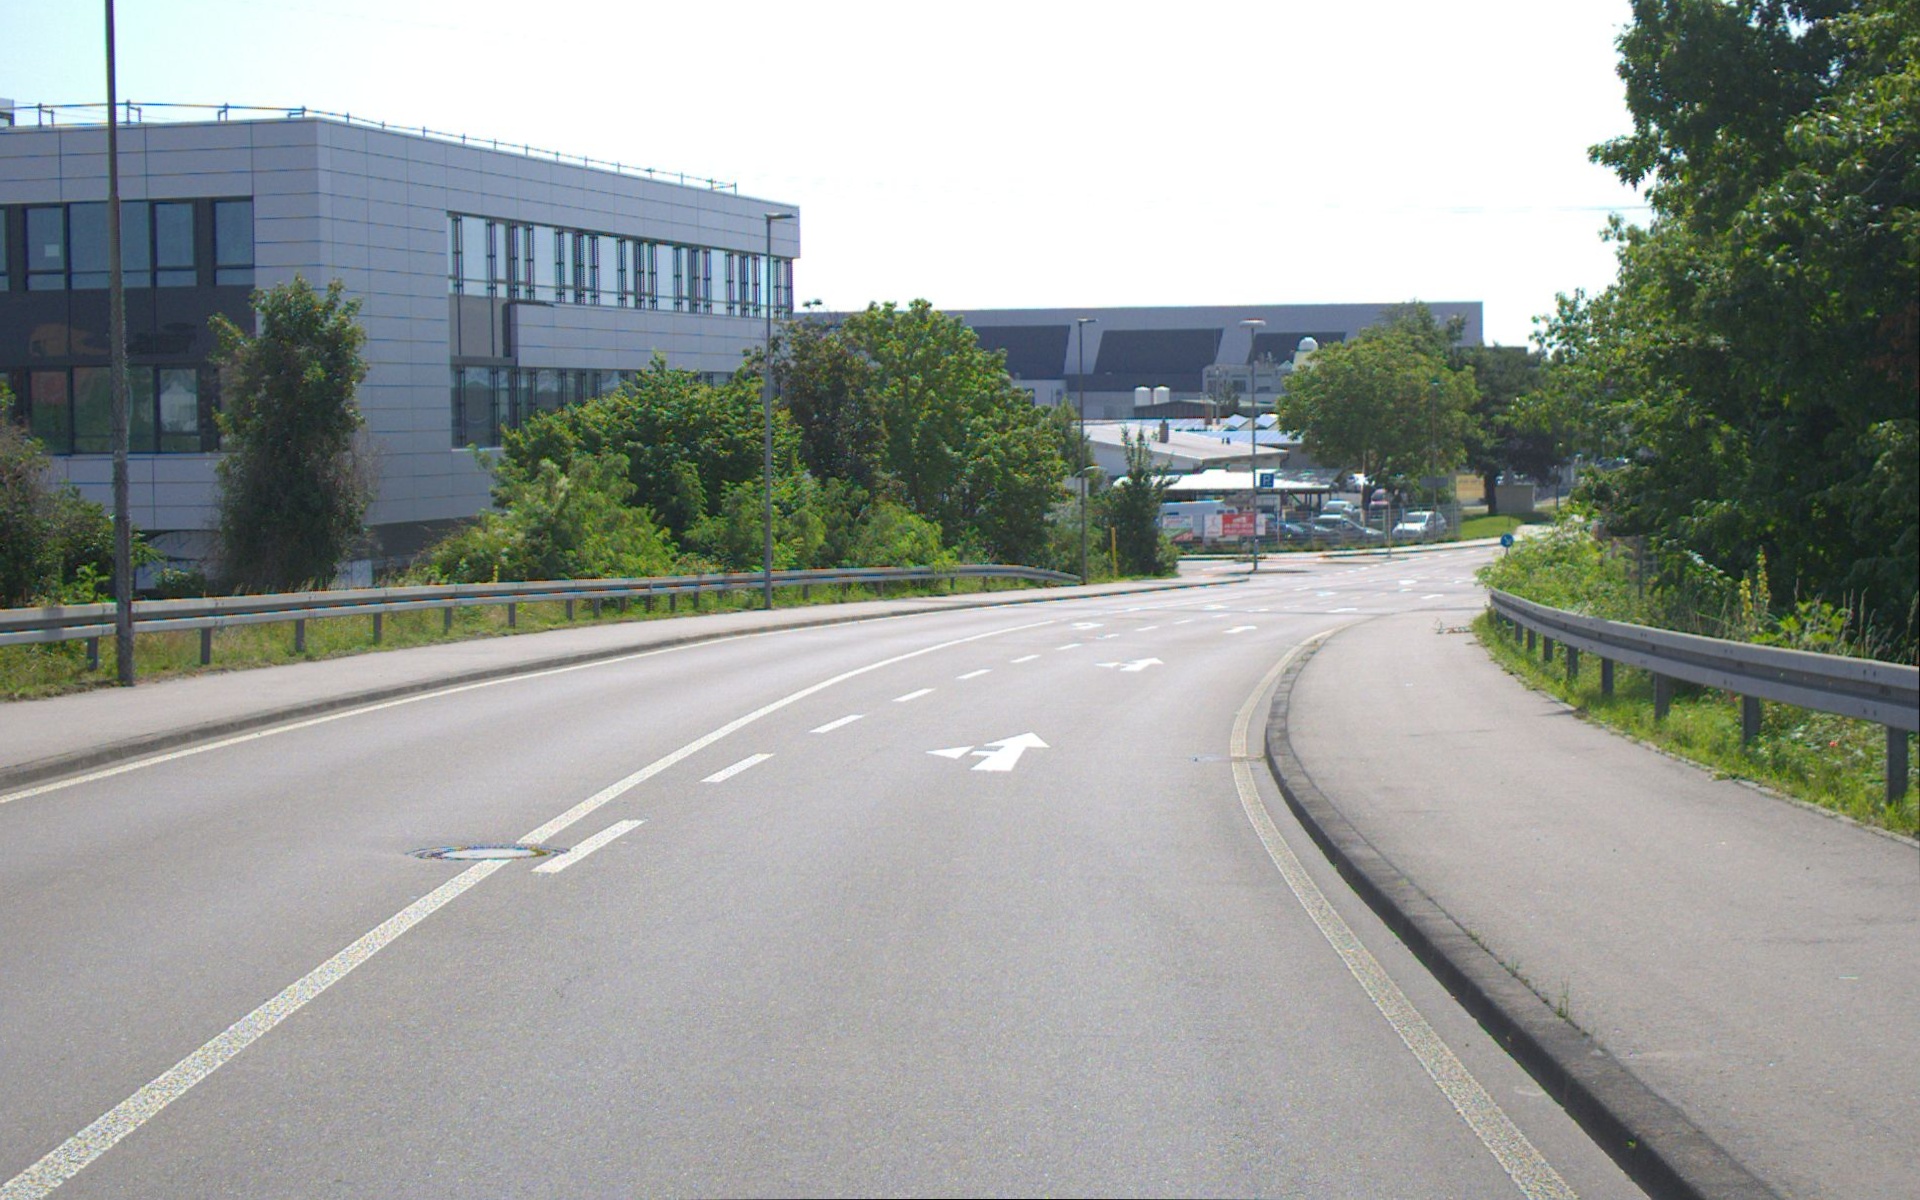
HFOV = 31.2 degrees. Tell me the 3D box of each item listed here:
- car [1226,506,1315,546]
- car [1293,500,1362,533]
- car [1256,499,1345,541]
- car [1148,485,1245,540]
[{"bbox_3d":[15.093,-3.624,167.240,1.995,1.774,3.998,-3,5,-45],"label":"car"},{"bbox_3d":[21.555,-4.908,201.821,3.987,1.843,1.834,0,2,5],"label":"car"},{"bbox_3d":[16.886,-3.975,170.728,3.997,1.897,1.995,4,5,42],"label":"car"},{"bbox_3d":[11.363,-4.219,165.089,4.362,2.599,1.995,2,2,44],"label":"car"}]
